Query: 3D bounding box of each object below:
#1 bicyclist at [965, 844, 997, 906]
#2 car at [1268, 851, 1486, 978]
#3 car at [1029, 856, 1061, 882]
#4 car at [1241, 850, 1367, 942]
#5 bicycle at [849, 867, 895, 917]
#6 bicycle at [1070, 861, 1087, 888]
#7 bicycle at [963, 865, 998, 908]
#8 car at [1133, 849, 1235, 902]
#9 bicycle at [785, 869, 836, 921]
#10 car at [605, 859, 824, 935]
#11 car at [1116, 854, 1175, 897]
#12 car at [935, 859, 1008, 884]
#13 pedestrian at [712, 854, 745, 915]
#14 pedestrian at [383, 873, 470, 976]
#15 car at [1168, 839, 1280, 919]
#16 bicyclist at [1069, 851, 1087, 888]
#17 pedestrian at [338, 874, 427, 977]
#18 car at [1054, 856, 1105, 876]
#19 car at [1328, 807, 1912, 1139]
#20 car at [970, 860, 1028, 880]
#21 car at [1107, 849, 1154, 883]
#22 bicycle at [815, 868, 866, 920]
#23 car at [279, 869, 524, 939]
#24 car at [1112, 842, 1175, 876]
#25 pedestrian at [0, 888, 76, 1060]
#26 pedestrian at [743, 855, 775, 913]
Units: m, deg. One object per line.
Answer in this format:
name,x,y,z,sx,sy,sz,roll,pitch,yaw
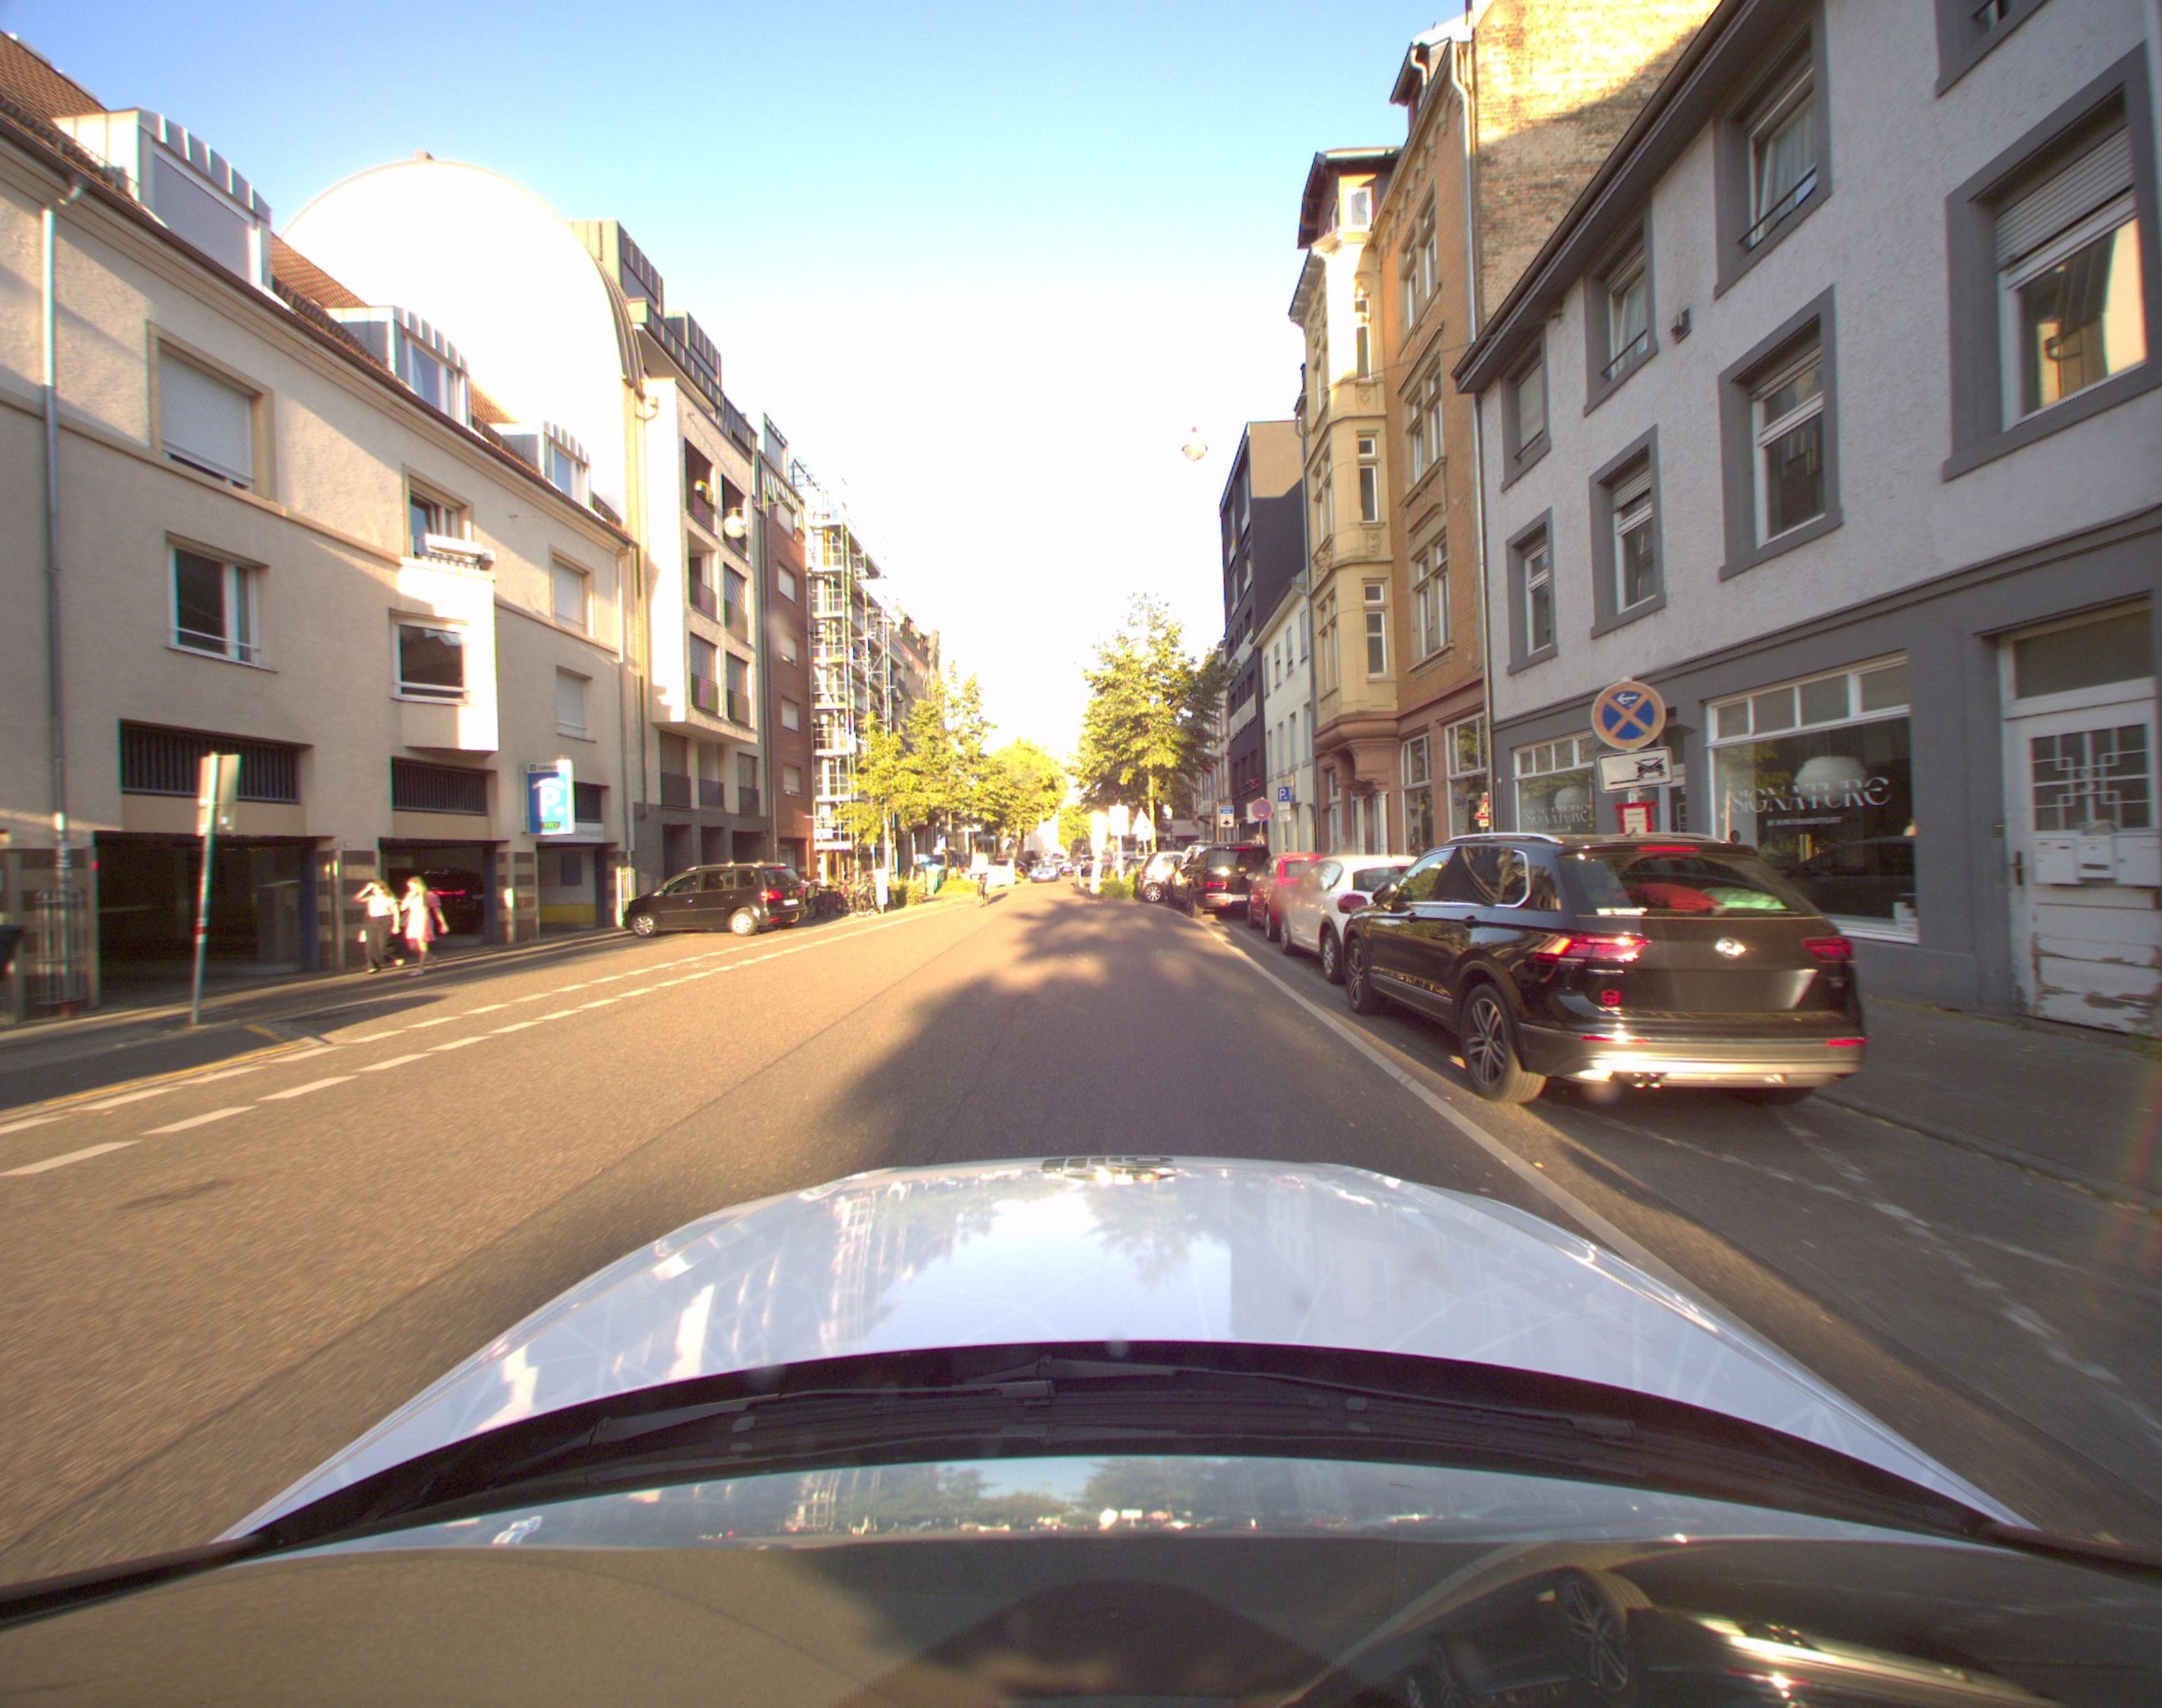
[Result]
bicyclist,-3.062,0.644,24.895,0.778,1.829,1.007,-3,-1,-1
car,3.708,0.686,10.913,1.660,1.378,3.804,-1,-1,2
car,-2.232,0.906,51.161,1.833,1.441,4.329,-2,0,-1
car,3.962,0.697,14.948,1.580,1.483,3.269,-1,-1,3
bicycle,-6.179,1.083,24.235,0.843,1.351,3.179,-2,0,-7
bicycle,-0.125,0.976,38.933,0.778,1.204,2.020,-3,-1,-1
bicycle,-3.052,0.968,24.915,0.778,1.204,2.020,-3,-1,-1
car,3.161,0.653,25.316,2.961,1.536,1.432,-1,-1,-3
bicycle,-7.919,1.160,23.994,0.780,1.373,3.135,-1,-1,-7
car,-8.770,1.023,19.594,4.462,1.601,2.008,-2,-1,14
car,2.627,0.865,34.139,1.988,1.668,4.507,-1,-1,-1
car,-6.633,1.080,49.736,4.085,1.466,1.891,-1,-1,3
pedestrian,-10.448,0.900,24.131,0.716,1.767,0.692,-1,-1,-7
pedestrian,-10.819,1.143,13.492,0.713,1.641,0.856,-1,-1,6
car,3.305,0.546,19.658,1.820,1.695,4.366,-1,-1,-1
bicyclist,-0.141,0.735,38.831,0.778,1.696,1.007,-3,-1,-1
pedestrian,-11.594,1.159,13.542,0.713,1.641,0.856,-1,-1,6
car,-0.078,0.936,65.195,1.866,1.480,4.487,-1,-1,33
car,3.360,0.624,6.233,1.805,1.668,4.208,-1,-1,2
car,-6.174,1.177,61.506,4.085,1.466,1.891,-1,-1,3
car,2.807,0.694,47.464,2.259,1.766,4.506,4,-1,-1
bicycle,-7.069,1.135,24.116,0.892,1.395,3.158,-2,0,-7
car,-16.689,1.195,20.152,4.474,1.601,2.002,-1,-1,4
car,4.066,0.331,52.809,3.967,2.013,2.003,-2,0,5
pedestrian,-10.856,1.181,8.018,0.714,1.641,0.951,-1,-1,-1
pedestrian,-9.893,0.900,25.041,0.716,1.740,0.737,-1,-1,-6
